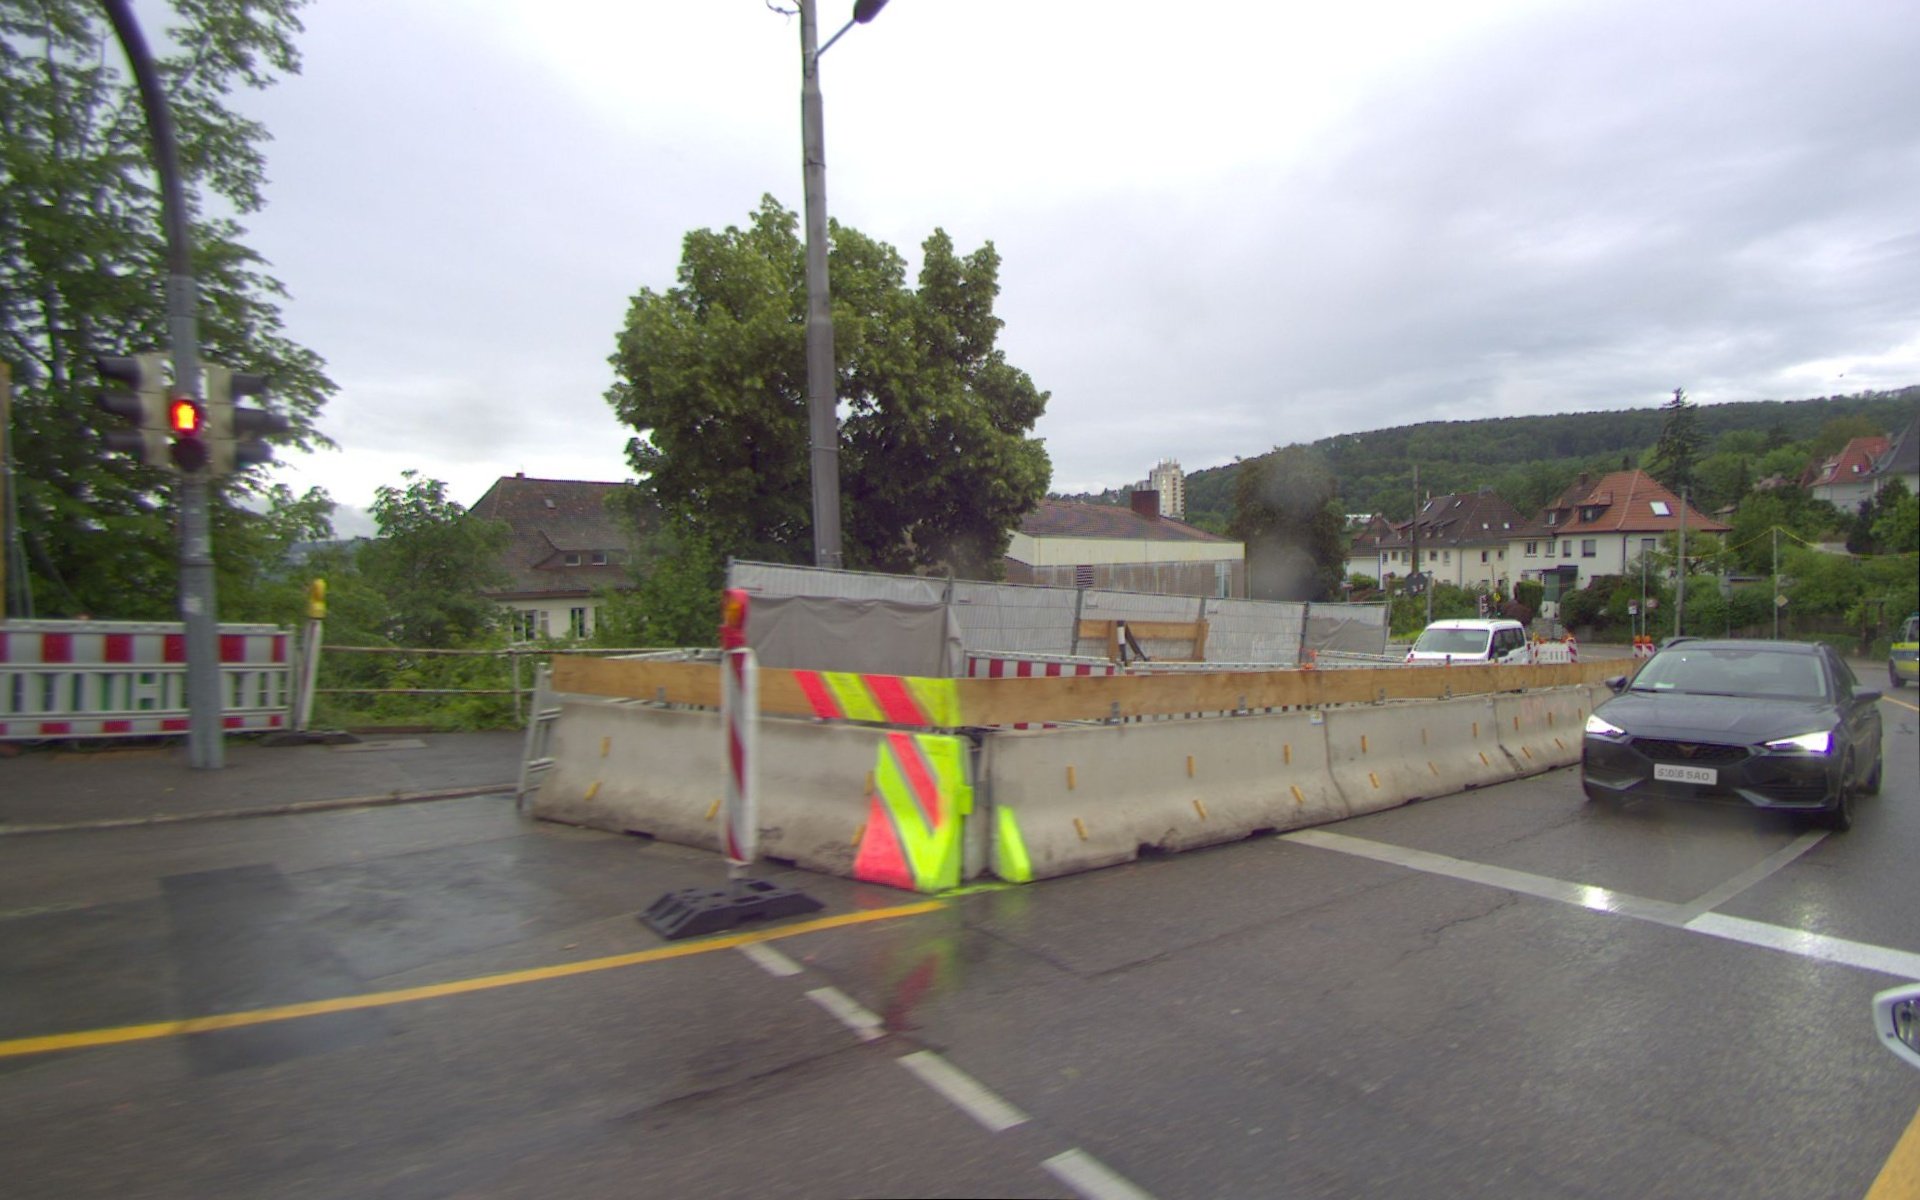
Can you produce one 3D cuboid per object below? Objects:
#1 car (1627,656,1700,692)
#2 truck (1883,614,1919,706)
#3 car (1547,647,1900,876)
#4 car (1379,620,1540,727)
[{"bbox_3d":[27.536,2.898,39.441,1.623,1.328,4.260,-3,-4,26],"label":"car"},{"bbox_3d":[25.581,1.485,25.973,1.968,2.041,4.717,-1,1,36],"label":"truck"},{"bbox_3d":[6.926,1.194,8.923,4.334,1.421,1.767,2,0,-43],"label":"car"},{"bbox_3d":[11.322,1.543,22.592,1.971,2.040,4.781,3,1,42],"label":"car"}]
